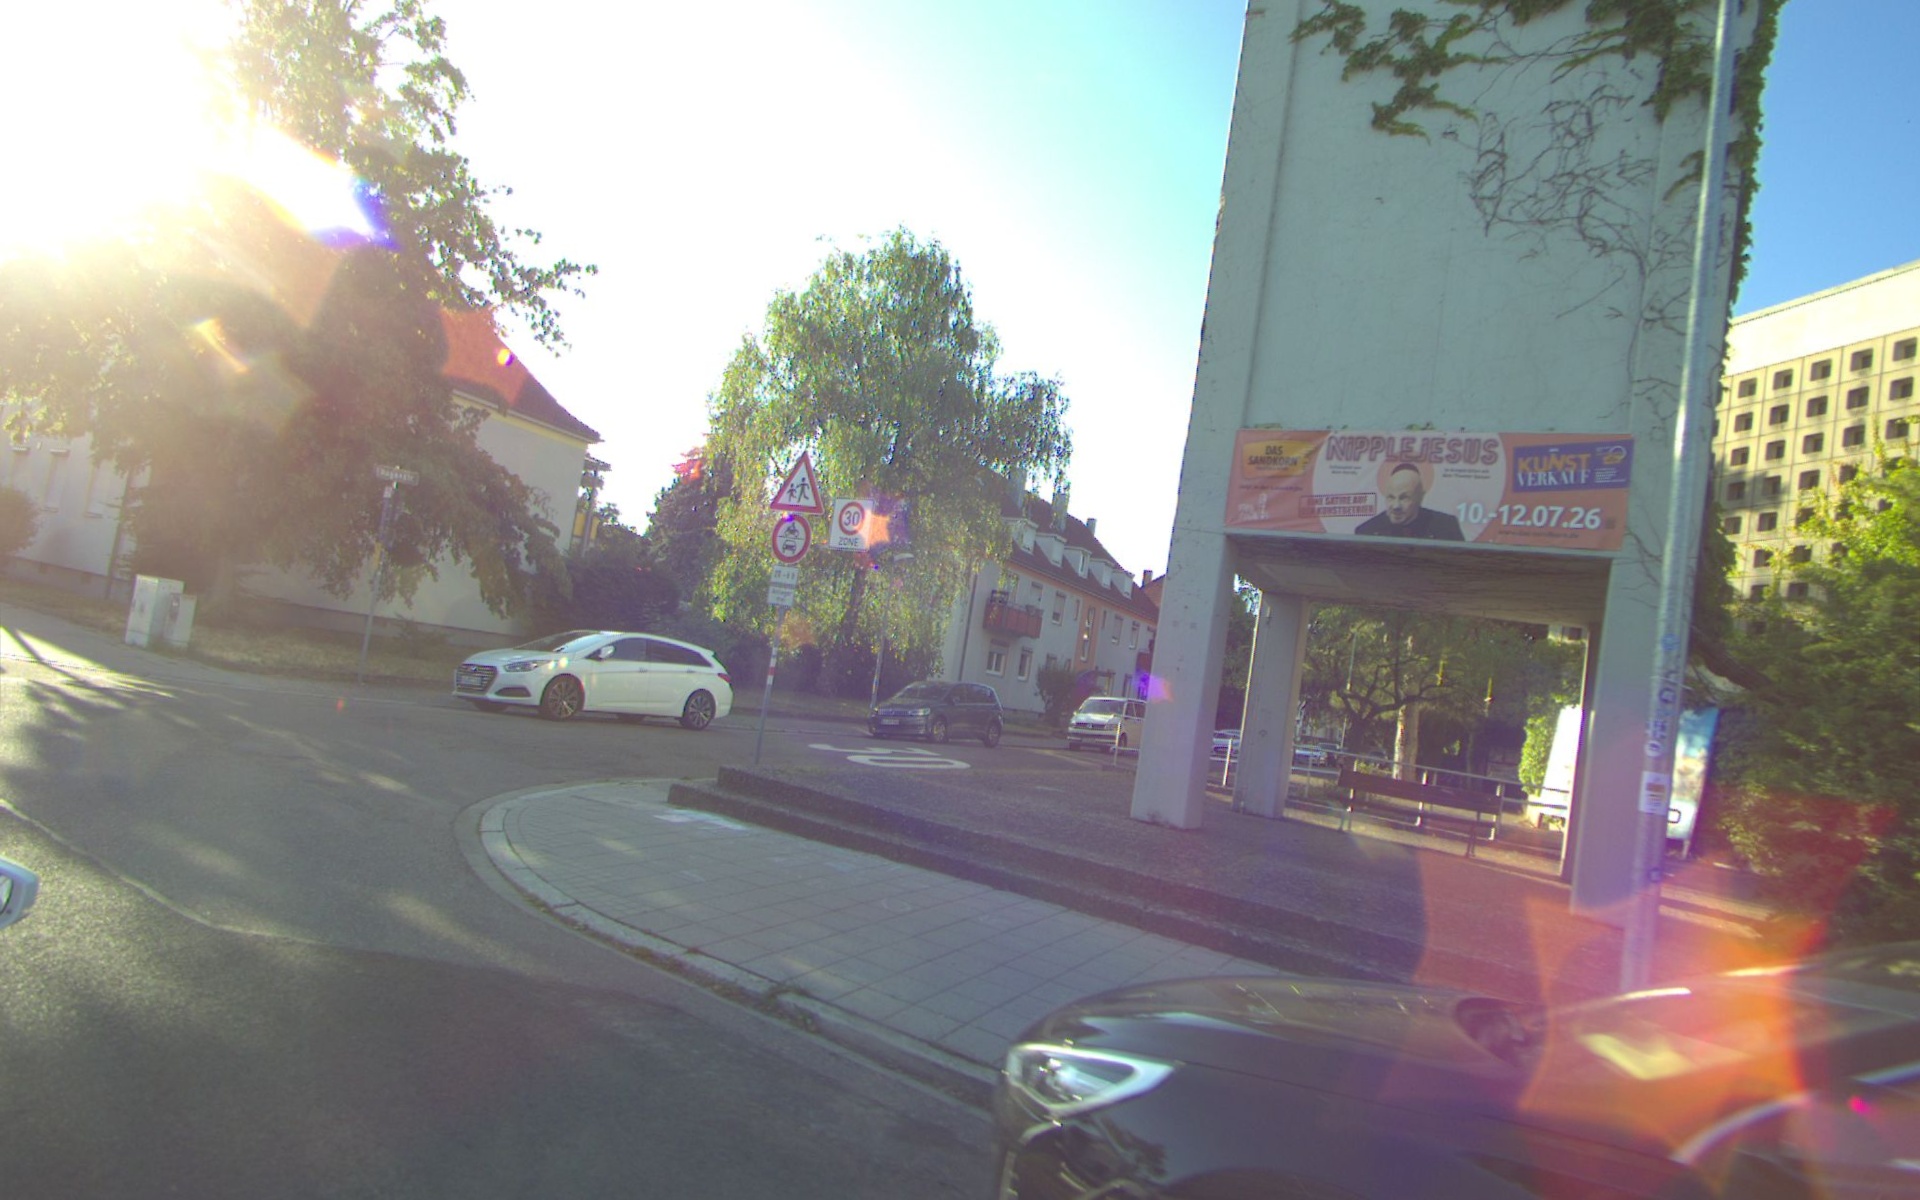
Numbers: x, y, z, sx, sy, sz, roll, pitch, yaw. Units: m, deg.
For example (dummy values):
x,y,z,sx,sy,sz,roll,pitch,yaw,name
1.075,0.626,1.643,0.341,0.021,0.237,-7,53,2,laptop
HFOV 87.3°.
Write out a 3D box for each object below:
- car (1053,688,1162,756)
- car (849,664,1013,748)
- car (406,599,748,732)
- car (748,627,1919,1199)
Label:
x,y,z,sx,sy,sz,roll,pitch,yaw,name
5.279,4.348,35.346,2.136,1.992,5.023,4,-6,27,car
-0.634,2.718,25.318,1.968,1.525,4.129,7,-6,34,car
-5.862,1.158,16.147,1.970,1.500,4.865,3,-8,30,car
2.000,1.286,1.724,4.545,1.572,1.834,7,-10,32,car
